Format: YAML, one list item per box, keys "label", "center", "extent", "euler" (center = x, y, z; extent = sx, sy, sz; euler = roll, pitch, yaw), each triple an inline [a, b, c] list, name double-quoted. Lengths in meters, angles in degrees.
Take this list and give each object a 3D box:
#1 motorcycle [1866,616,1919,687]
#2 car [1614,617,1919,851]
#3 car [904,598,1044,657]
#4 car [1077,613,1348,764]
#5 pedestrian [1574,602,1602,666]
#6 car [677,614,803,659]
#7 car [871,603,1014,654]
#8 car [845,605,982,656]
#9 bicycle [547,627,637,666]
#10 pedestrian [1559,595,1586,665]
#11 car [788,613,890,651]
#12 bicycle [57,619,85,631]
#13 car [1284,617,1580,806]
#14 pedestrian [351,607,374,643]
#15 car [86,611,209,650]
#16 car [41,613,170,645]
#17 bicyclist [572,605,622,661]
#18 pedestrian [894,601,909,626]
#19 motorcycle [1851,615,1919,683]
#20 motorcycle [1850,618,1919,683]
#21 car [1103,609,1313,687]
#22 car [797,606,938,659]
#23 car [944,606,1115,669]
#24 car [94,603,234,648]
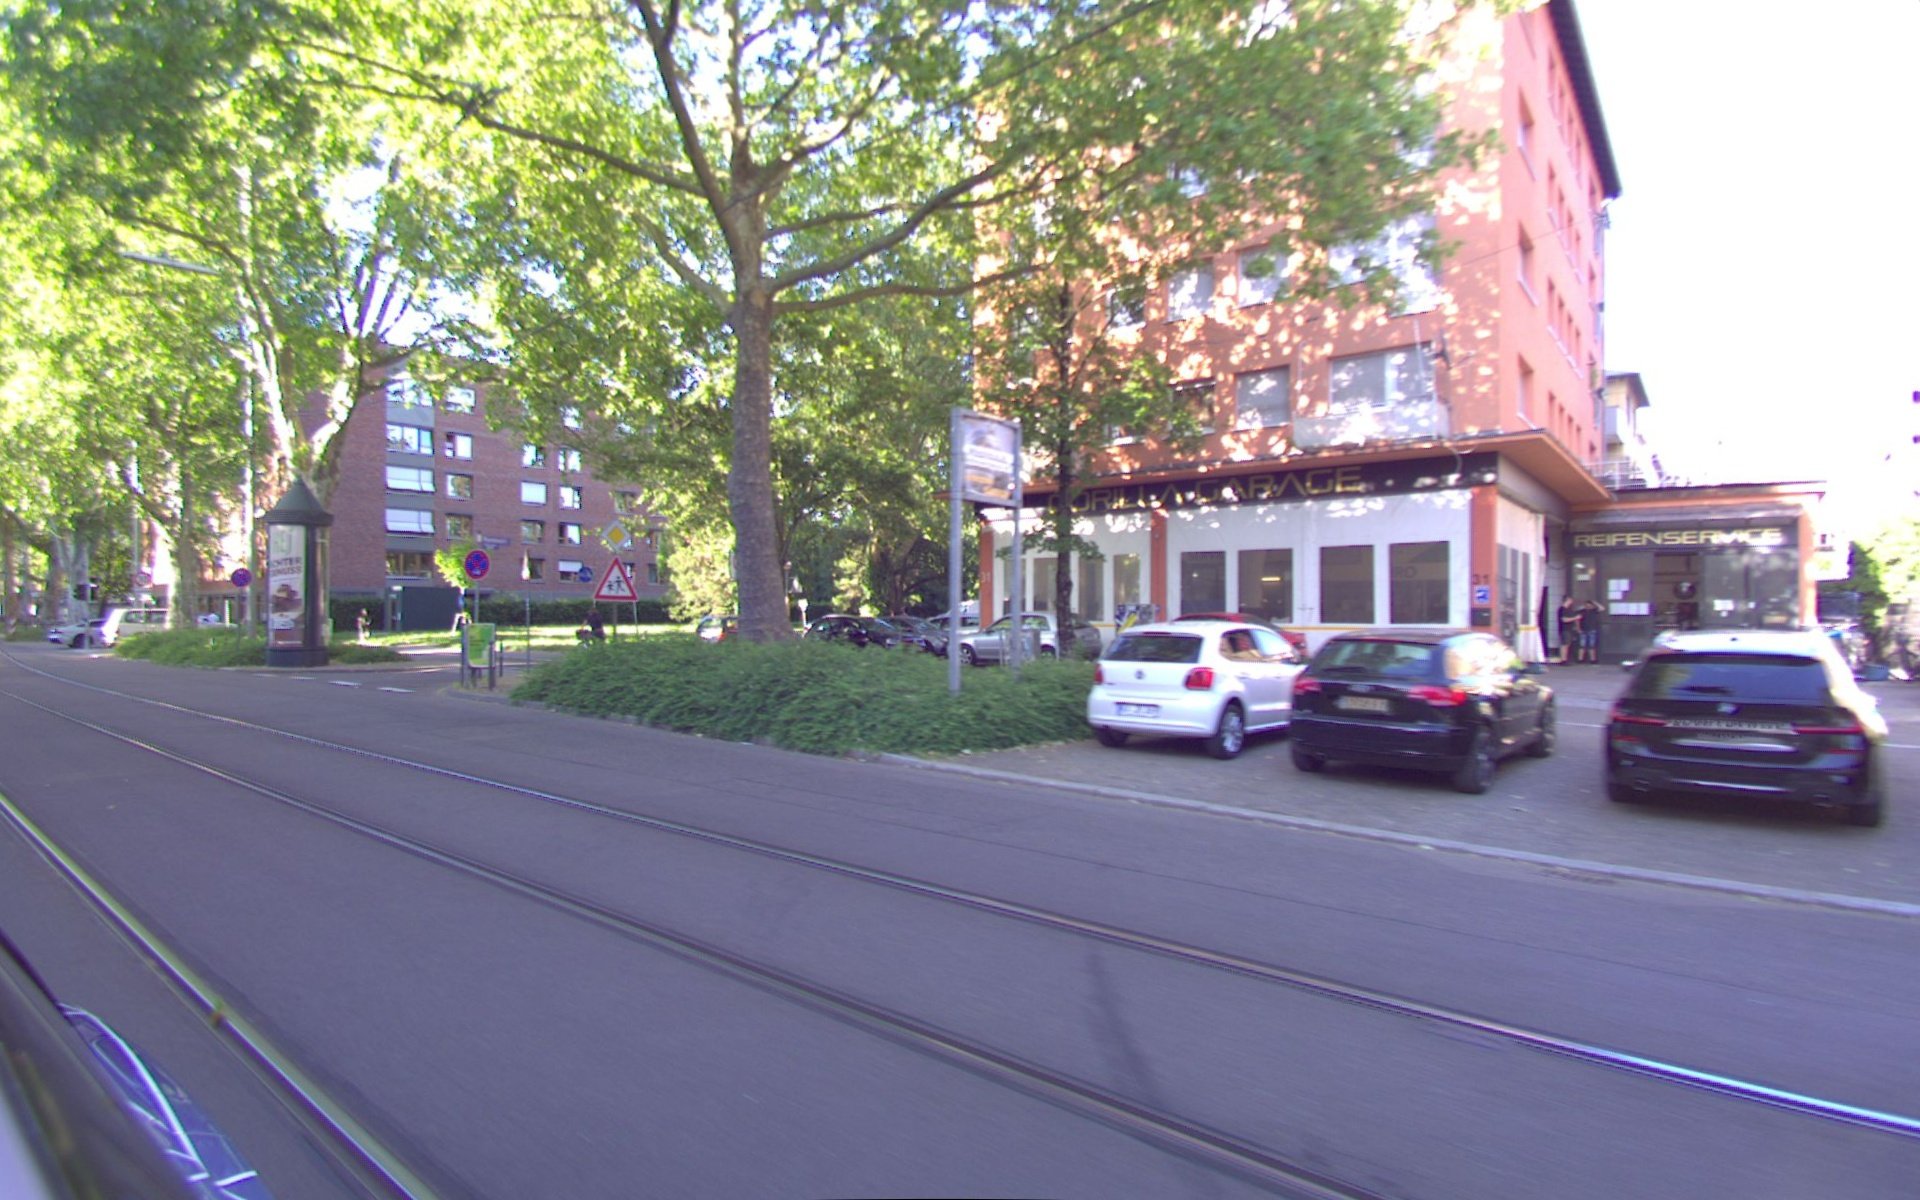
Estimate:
- label: "motorcycle"
  center: [17.938, 0.950, 18.800]
  extent: [1.626, 1.298, 0.593]
  euler: [-1, 0, 41]
- label: "car"
  center: [7.115, 0.917, 8.718]
  extent: [1.821, 1.476, 4.038]
  euler: [-1, 0, 43]
- label: "car"
  center: [0.466, 0.963, 36.974]
  extent: [4.911, 2.019, 1.975]
  euler: [0, 0, 37]
- label: "car"
  center: [3.075, 0.908, 11.973]
  extent: [1.697, 1.476, 3.382]
  euler: [-1, 0, 43]
- label: "pedestrian"
  center: [16.603, 0.881, 26.757]
  extent: [0.549, 1.673, 0.498]
  euler: [-1, -1, 40]
- label: "car"
  center: [-8.013, 1.294, 37.270]
  extent: [1.856, 1.500, 4.488]
  euler: [-1, 0, 35]
- label: "car"
  center: [-0.625, 0.921, 34.335]
  extent: [4.546, 1.630, 1.977]
  euler: [0, 0, 34]
- label: "car"
  center: [-1.505, 0.926, 32.294]
  extent: [3.989, 1.537, 1.977]
  euler: [0, 0, 34]
- label: "bicycle"
  center: [-10.301, 1.288, 28.286]
  extent: [2.574, 1.006, 0.961]
  euler: [0, 0, 31]
- label: "pedestrian"
  center: [15.954, 0.774, 26.366]
  extent: [0.520, 1.791, 0.534]
  euler: [-1, -1, 40]
- label: "car"
  center: [-4.973, 1.281, 42.027]
  extent: [1.818, 1.461, 4.433]
  euler: [-1, 0, 33]
- label: "bicycle"
  center: [-90.145, 2.543, 102.654]
  extent: [2.067, 1.198, 0.883]
  euler: [0, 0, -33]
- label: "car"
  center: [4.830, 0.938, 10.125]
  extent: [1.687, 1.476, 3.562]
  euler: [-1, 0, 43]
- label: "pedestrian"
  center: [-28.350, 1.166, 48.027]
  extent: [0.779, 1.686, 0.702]
  euler: [-1, 0, 41]
- label: "car"
  center: [-37.019, 1.332, 46.204]
  extent: [1.900, 1.659, 4.098]
  euler: [-1, 0, 39]
- label: "car"
  center: [-42.975, 1.409, 50.971]
  extent: [1.953, 1.471, 4.717]
  euler: [-1, 0, 39]
- label: "bicyclist"
  center: [-10.119, 0.913, 28.218]
  extent: [1.113, 1.518, 0.794]
  euler: [-1, 0, 31]
- label: "pedestrian"
  center: [-3.987, 0.915, 69.177]
  extent: [0.766, 1.686, 0.714]
  euler: [0, 0, -32]
- label: "motorcycle"
  center: [18.715, 0.960, 19.995]
  extent: [1.626, 1.313, 0.635]
  euler: [-1, 0, 41]
- label: "motorcycle"
  center: [19.157, 1.013, 20.569]
  extent: [1.562, 1.298, 0.587]
  euler: [-1, 0, 41]
- label: "car"
  center: [5.297, 0.961, 21.909]
  extent: [3.999, 1.498, 1.927]
  euler: [-1, 0, 42]
- label: "car"
  center: [-2.823, 0.947, 30.605]
  extent: [3.985, 1.504, 1.799]
  euler: [0, 0, 31]
- label: "car"
  center: [1.671, 0.880, 25.121]
  extent: [3.891, 1.418, 1.927]
  euler: [-1, 0, 42]
- label: "car"
  center: [-34.574, 1.046, 44.067]
  extent: [1.937, 1.848, 4.525]
  euler: [-1, 0, 39]
